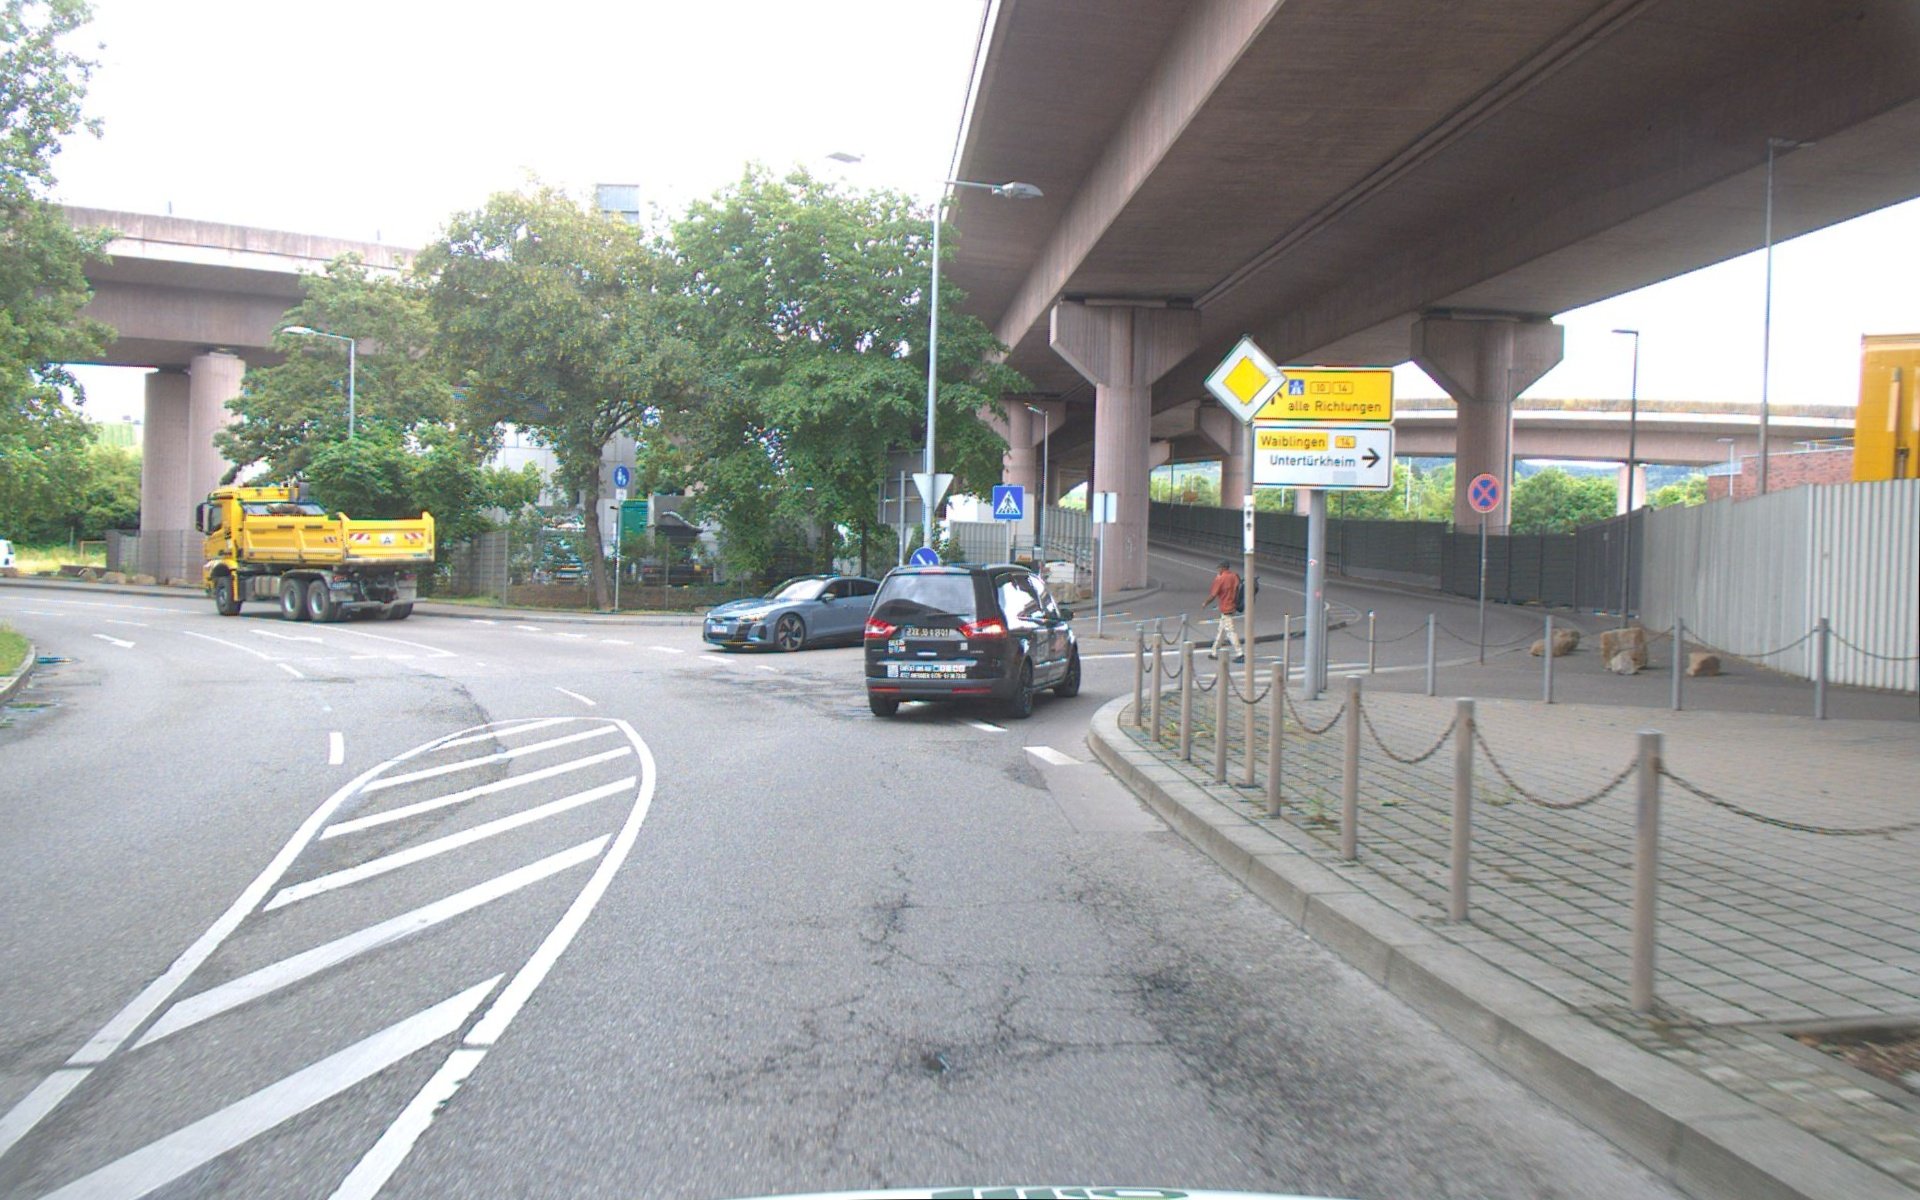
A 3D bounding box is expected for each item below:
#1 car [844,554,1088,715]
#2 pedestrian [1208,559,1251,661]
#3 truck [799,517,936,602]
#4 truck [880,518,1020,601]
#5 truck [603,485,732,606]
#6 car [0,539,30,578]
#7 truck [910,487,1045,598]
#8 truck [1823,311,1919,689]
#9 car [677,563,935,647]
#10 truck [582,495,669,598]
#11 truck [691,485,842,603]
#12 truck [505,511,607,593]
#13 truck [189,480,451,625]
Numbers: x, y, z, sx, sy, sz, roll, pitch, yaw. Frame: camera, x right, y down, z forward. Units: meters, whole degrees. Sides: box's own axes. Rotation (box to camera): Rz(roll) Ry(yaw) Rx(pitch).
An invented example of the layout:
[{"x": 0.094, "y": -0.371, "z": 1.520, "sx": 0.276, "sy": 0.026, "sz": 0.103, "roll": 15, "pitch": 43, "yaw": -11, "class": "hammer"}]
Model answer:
[{"x": 0.218, "y": 0.340, "z": 19.951, "sx": 1.951, "sy": 1.708, "sz": 4.564, "roll": 0, "pitch": 1, "yaw": 13, "class": "car"}, {"x": 4.574, "y": 0.154, "z": 28.072, "sx": 0.527, "sy": 1.705, "sz": 0.556, "roll": -1, "pitch": 2, "yaw": -16, "class": "pedestrian"}, {"x": -3.507, "y": -1.580, "z": 60.890, "sx": 2.878, "sy": 2.949, "sz": 6.508, "roll": -1, "pitch": 3, "yaw": -25, "class": "truck"}, {"x": -0.466, "y": -1.619, "z": 62.499, "sx": 2.878, "sy": 2.949, "sz": 6.508, "roll": -1, "pitch": 3, "yaw": -25, "class": "truck"}, {"x": -10.561, "y": -1.957, "z": 59.098, "sx": 3.024, "sy": 4.031, "sz": 6.875, "roll": -2, "pitch": 2, "yaw": -23, "class": "truck"}, {"x": -47.481, "y": -1.991, "z": 79.685, "sx": 4.246, "sy": 1.889, "sz": 1.991, "roll": -1, "pitch": 1, "yaw": -17, "class": "car"}, {"x": 0.613, "y": -2.452, "z": 69.624, "sx": 3.021, "sy": 4.374, "sz": 8.001, "roll": 0, "pitch": 3, "yaw": -20, "class": "truck"}, {"x": 15.655, "y": -1.304, "z": 25.032, "sx": 3.087, "sy": 5.003, "sz": 8.679, "roll": 1, "pitch": 1, "yaw": 38, "class": "truck"}, {"x": -2.962, "y": 0.046, "z": 32.606, "sx": 2.136, "sy": 1.528, "sz": 4.899, "roll": 1, "pitch": 1, "yaw": 44, "class": "car"}, {"x": -16.829, "y": -2.742, "z": 82.821, "sx": 3.156, "sy": 4.862, "sz": 8.003, "roll": 0, "pitch": 3, "yaw": -20, "class": "truck"}, {"x": -7.061, "y": -2.053, "z": 59.162, "sx": 3.027, "sy": 3.934, "sz": 7.986, "roll": -1, "pitch": 3, "yaw": -25, "class": "truck"}, {"x": -19.314, "y": -2.358, "z": 78.747, "sx": 3.019, "sy": 3.681, "sz": 7.848, "roll": 0, "pitch": 3, "yaw": -27, "class": "truck"}, {"x": -17.180, "y": -1.386, "z": 44.122, "sx": 8.091, "sy": 3.541, "sz": 2.922, "roll": 3, "pitch": 4, "yaw": 39, "class": "truck"}]
